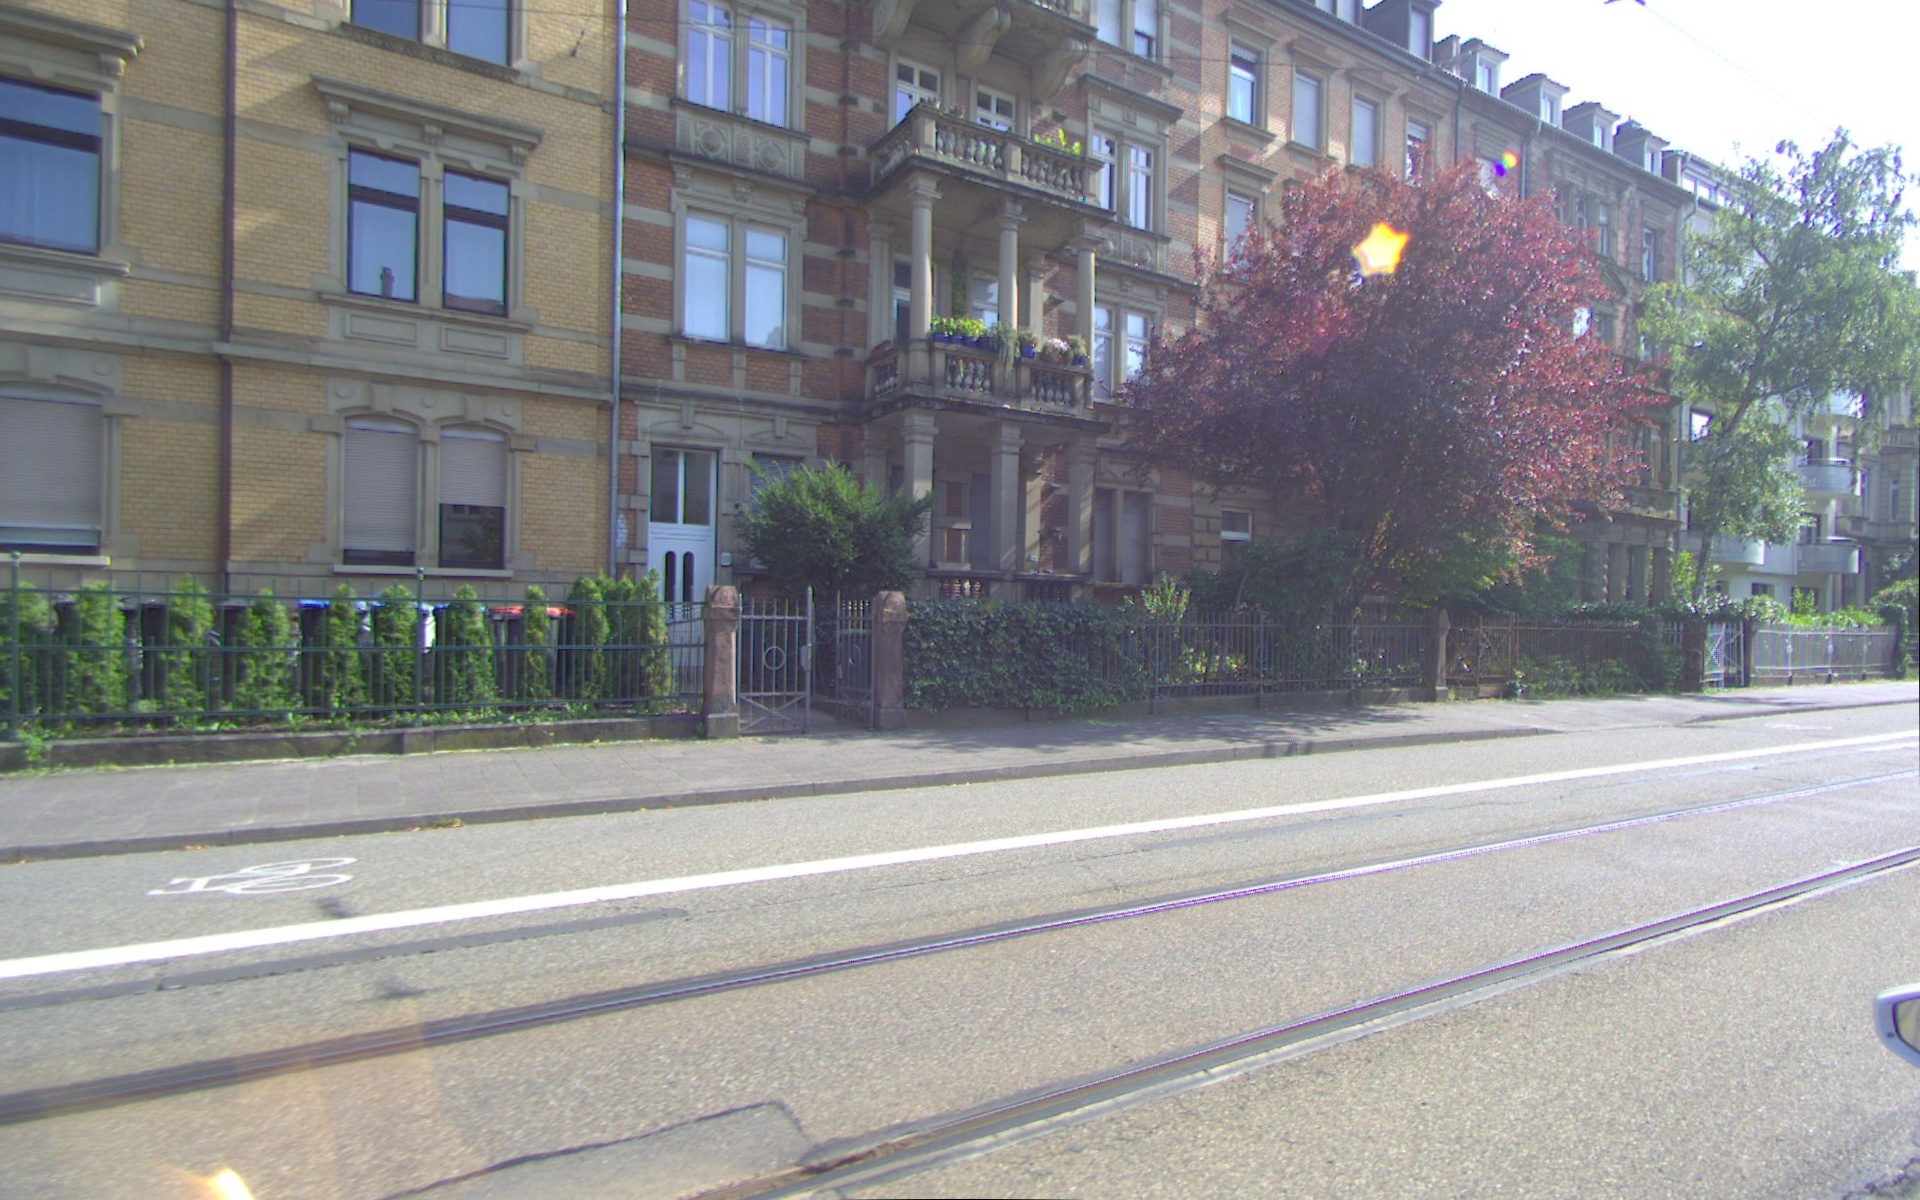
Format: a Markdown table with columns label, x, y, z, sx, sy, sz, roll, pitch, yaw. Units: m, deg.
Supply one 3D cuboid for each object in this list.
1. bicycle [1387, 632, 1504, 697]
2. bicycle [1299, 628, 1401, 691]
| label | x | y | z | sx | sy | sz | roll | pitch | yaw |
| --- | --- | --- | --- | --- | --- | --- | --- | --- | --- |
| bicycle | 9.247 | 1.210 | 19.212 | 0.582 | 1.118 | 2.004 | 1 | 0 | -33 |
| bicycle | 7.479 | 1.131 | 19.321 | 1.723 | 1.118 | 0.589 | 1 | 0 | 11 |
